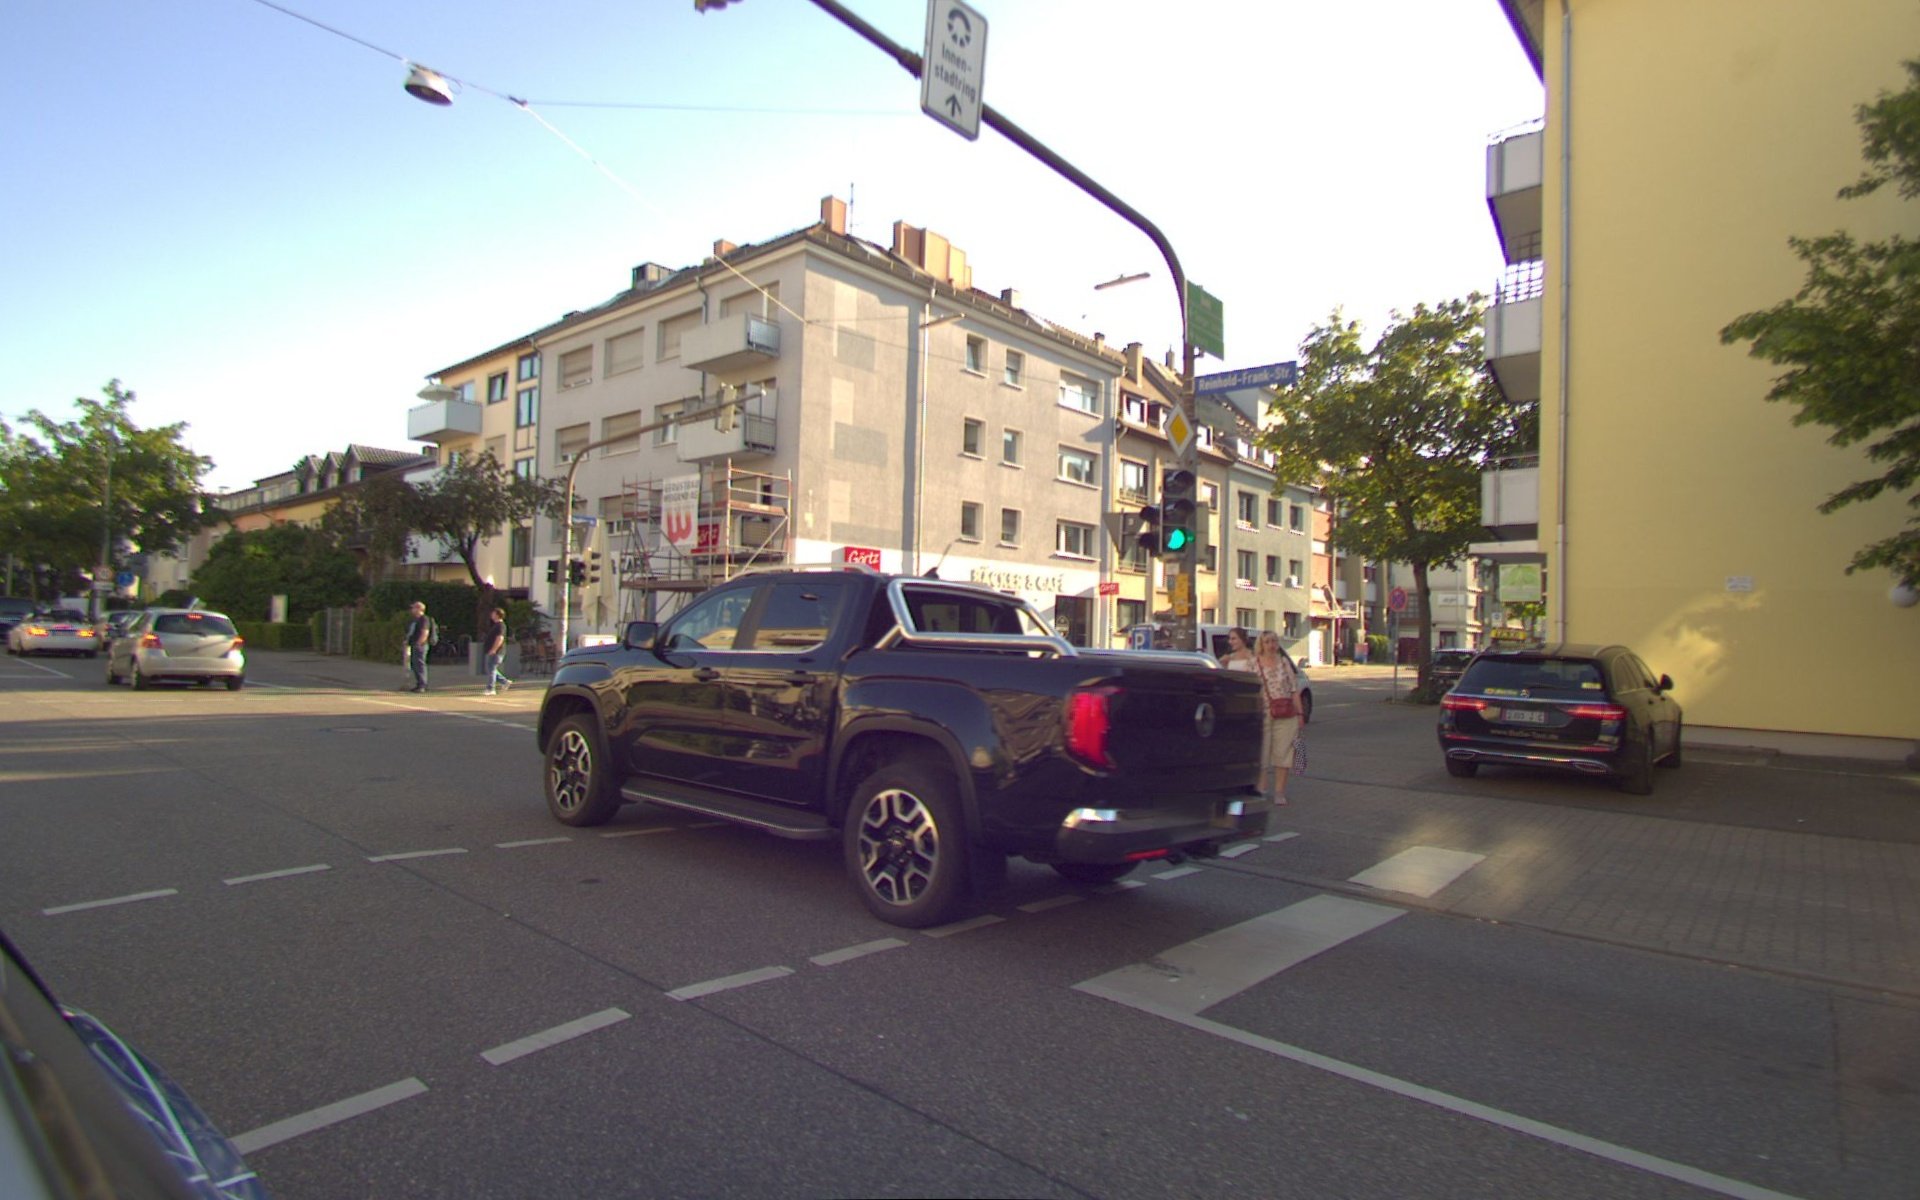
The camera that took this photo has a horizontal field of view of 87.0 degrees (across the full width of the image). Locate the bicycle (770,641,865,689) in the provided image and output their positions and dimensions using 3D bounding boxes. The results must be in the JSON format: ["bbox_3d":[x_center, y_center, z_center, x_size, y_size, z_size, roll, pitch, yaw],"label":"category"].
[{"bbox_3d":[-3.627,1.667,25.788,2.233,1.097,0.730,4,-1,-30],"label":"bicycle"}]

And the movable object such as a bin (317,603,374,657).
[{"bbox_3d":[-20.328,0.973,33.489,1.180,1.670,1.292,1,2,41],"label":"movable object such as a bin"}]

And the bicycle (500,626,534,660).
[{"bbox_3d":[-13.761,1.332,31.430,1.478,1.022,0.433,0,-2,44],"label":"bicycle"}]

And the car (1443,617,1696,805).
[{"bbox_3d":[6.922,1.015,11.253,1.841,1.626,4.546,0,-1,39],"label":"car"}]

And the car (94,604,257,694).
[{"bbox_3d":[-15.325,0.898,19.693,3.999,1.569,1.785,0,-2,42],"label":"car"}]

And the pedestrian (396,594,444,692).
[{"bbox_3d":[-11.540,0.909,21.624,0.739,2.029,0.630,0,-3,43],"label":"pedestrian"}]

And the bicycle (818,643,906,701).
[{"bbox_3d":[-2.054,1.508,21.495,0.726,1.175,1.975,-1,-3,35],"label":"bicycle"}]

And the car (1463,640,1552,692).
[{"bbox_3d":[19.125,2.258,35.269,1.842,1.626,4.349,0,-2,41],"label":"car"}]

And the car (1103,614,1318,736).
[{"bbox_3d":[4.566,1.262,18.002,1.907,1.862,4.425,0,-2,41],"label":"car"}]

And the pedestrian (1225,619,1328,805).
[{"bbox_3d":[2.944,0.997,9.409,0.749,1.606,0.601,1,2,39],"label":"pedestrian"}]

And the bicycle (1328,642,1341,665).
[{"bbox_3d":[20.970,2.990,56.693,0.596,1.309,0.425,0,-2,39],"label":"bicycle"}]

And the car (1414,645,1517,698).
[{"bbox_3d":[15.612,2.157,31.162,1.863,1.475,3.944,0,-2,42],"label":"car"}]

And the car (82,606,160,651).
[{"bbox_3d":[-31.294,1.046,37.728,3.572,1.547,1.732,0,-2,43],"label":"car"}]

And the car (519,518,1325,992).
[{"bbox_3d":[-0.639,0.660,6.400,5.226,1.843,1.842,0,-4,42],"label":"car"}]

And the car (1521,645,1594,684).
[{"bbox_3d":[24.812,2.664,41.983,1.863,1.475,3.944,0,-2,42],"label":"car"}]

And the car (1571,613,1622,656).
[{"bbox_3d":[36.618,1.995,58.183,1.863,2.377,3.944,0,-2,42],"label":"car"}]

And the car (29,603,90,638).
[{"bbox_3d":[-43.703,0.973,49.090,4.196,1.626,1.711,0,-2,42],"label":"car"}]

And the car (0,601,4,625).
[{"bbox_3d":[-70.833,0.914,73.493,3.659,1.679,1.670,0,-2,42],"label":"car"}]

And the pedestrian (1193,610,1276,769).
[{"bbox_3d":[3.000,0.951,11.103,0.598,1.642,0.752,0,1,-12],"label":"pedestrian"}]

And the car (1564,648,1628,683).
[{"bbox_3d":[29.163,2.964,46.369,1.863,1.475,3.944,0,-2,42],"label":"car"}]

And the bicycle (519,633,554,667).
[{"bbox_3d":[-13.335,1.560,31.856,1.478,1.022,0.433,0,-2,44],"label":"bicycle"}]

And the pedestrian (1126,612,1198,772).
[{"bbox_3d":[2.222,0.976,11.086,0.605,1.670,0.744,1,-2,24],"label":"pedestrian"}]

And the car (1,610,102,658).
[{"bbox_3d":[-27.760,1.022,30.882,4.441,1.330,1.821,0,-3,43],"label":"car"}]

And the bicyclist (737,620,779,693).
[{"bbox_3d":[-4.718,1.323,23.634,0.662,1.666,0.751,3,-4,-39],"label":"bicyclist"}]

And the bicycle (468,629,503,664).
[{"bbox_3d":[-14.474,1.409,30.870,1.478,1.022,0.433,0,-2,44],"label":"bicycle"}]

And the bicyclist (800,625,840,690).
[{"bbox_3d":[-3.572,1.461,25.814,0.677,1.606,0.752,4,-1,-29],"label":"bicyclist"}]

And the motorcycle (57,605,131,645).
[{"bbox_3d":[-34.777,1.005,40.637,2.877,1.547,1.250,1,-2,28],"label":"motorcycle"}]

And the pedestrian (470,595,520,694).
[{"bbox_3d":[-9.792,0.923,21.306,0.814,2.029,0.637,1,-1,43],"label":"pedestrian"}]

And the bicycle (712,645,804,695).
[{"bbox_3d":[-4.699,1.624,23.642,1.967,1.097,0.729,3,-4,-39],"label":"bicycle"}]

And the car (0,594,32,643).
[{"bbox_3d":[-38.664,0.718,40.395,4.407,1.891,1.818,0,-2,41],"label":"car"}]

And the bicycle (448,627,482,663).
[{"bbox_3d":[-14.899,1.354,30.449,1.478,1.022,0.433,0,-2,44],"label":"bicycle"}]

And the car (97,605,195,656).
[{"bbox_3d":[-27.894,1.012,34.646,3.947,1.626,1.787,0,-2,39],"label":"car"}]
